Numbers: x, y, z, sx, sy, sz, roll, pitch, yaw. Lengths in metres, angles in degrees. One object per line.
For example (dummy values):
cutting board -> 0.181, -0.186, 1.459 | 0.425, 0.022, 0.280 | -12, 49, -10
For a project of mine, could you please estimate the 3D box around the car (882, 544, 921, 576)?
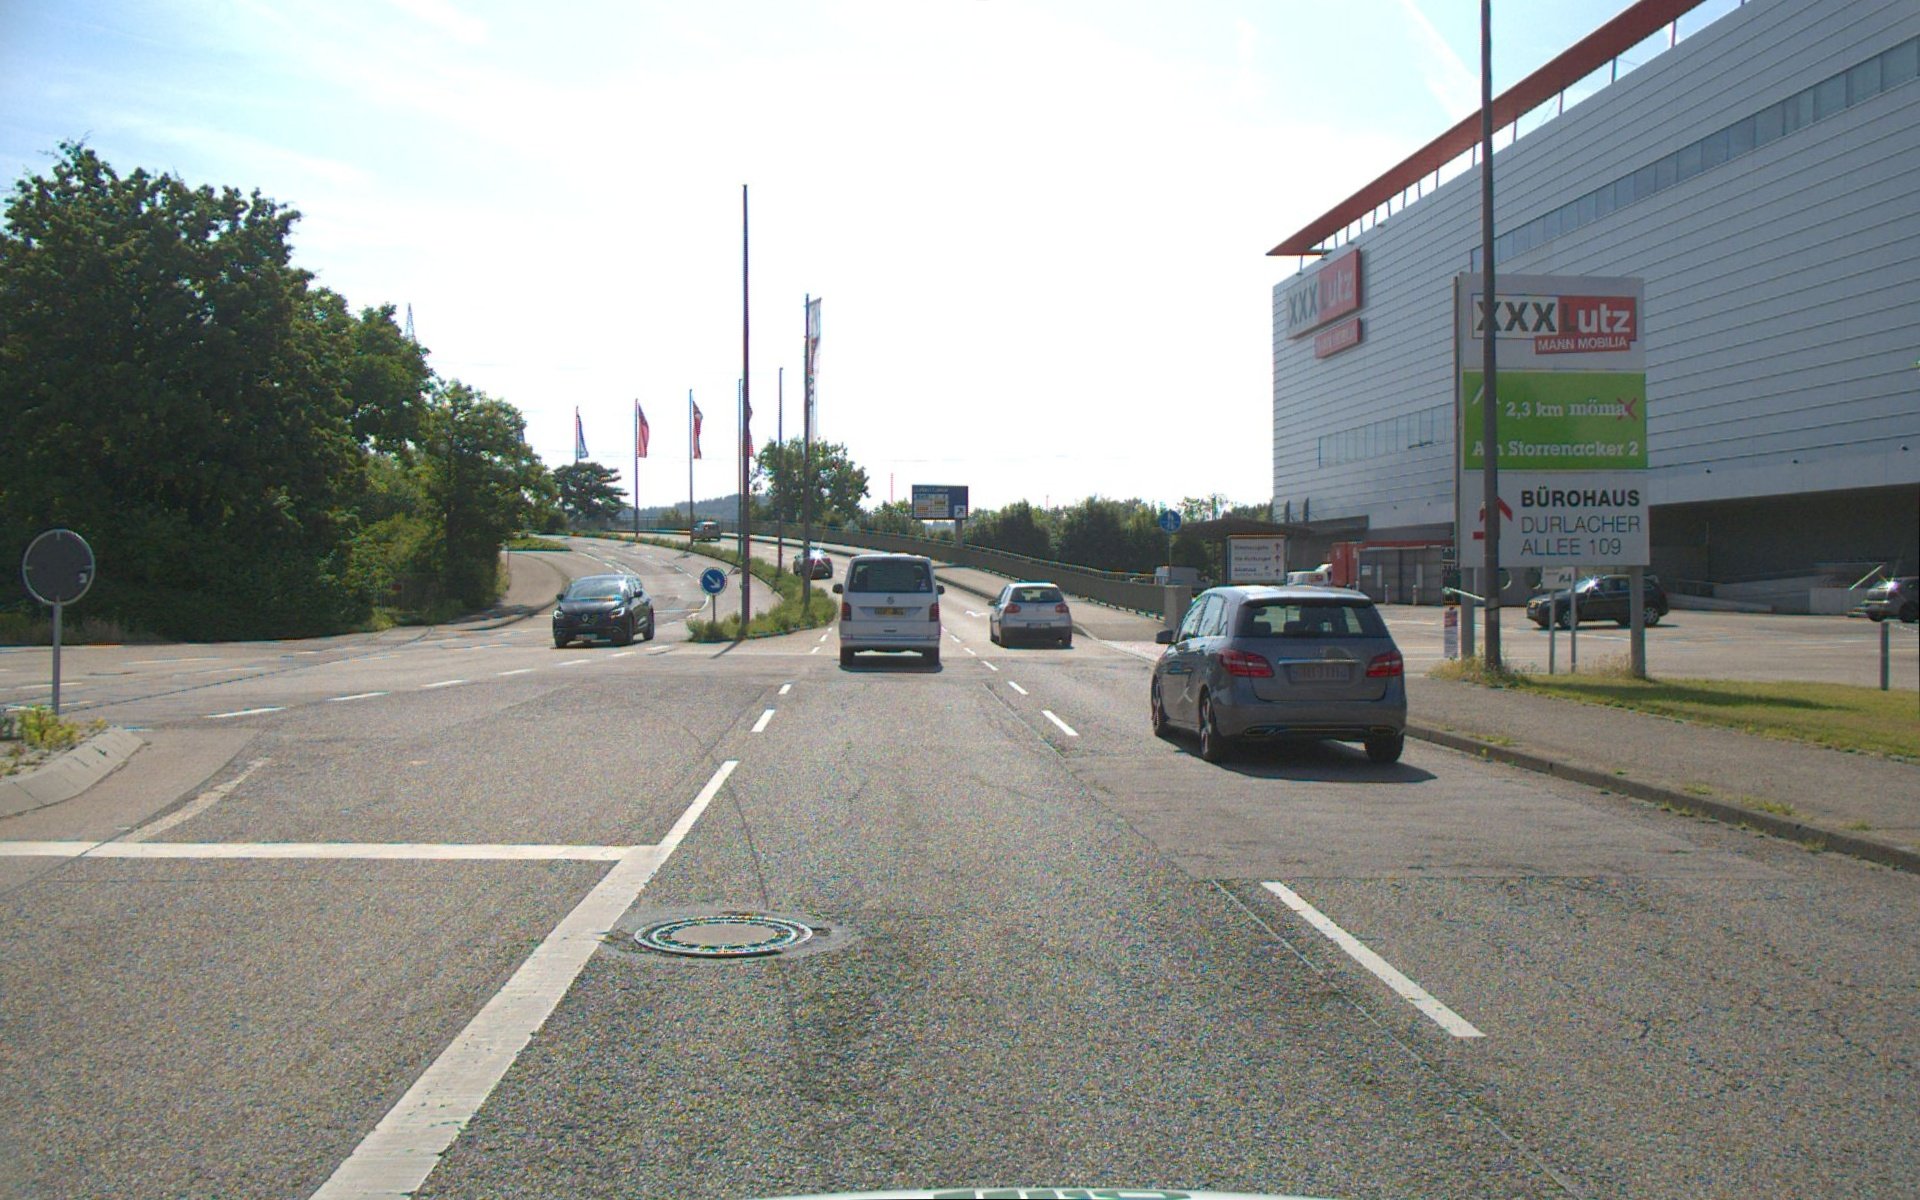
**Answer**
car -> -3.086, -2.124, 87.263 | 1.503, 1.505, 3.588 | 1, 3, -11

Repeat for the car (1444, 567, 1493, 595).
car -> 27.595, -1.030, 89.813 | 1.481, 1.493, 3.252 | 0, 1, -4

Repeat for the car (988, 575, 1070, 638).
car -> 1.633, 0.123, 40.070 | 1.633, 1.439, 3.680 | 0, 1, -3

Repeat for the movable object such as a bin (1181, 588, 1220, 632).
movable object such as a bin -> 6.382, 0.258, 43.933 | 0.793, 1.133, 1.181 | 0, 1, -3

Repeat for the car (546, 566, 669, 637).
car -> -8.539, 0.010, 40.435 | 1.875, 1.634, 4.274 | 0, 1, 3

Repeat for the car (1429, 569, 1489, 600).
car -> 25.785, -0.832, 85.615 | 1.640, 1.535, 4.091 | 0, 1, -4

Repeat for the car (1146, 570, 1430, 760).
car -> 2.972, 0.521, 15.861 | 1.738, 1.566, 4.136 | 1, 1, -2

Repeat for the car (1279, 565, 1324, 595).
car -> 20.643, -1.231, 100.114 | 1.640, 1.782, 4.091 | 0, 1, -4

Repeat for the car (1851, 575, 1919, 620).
car -> 31.258, -0.061, 54.087 | 3.450, 1.400, 1.601 | 1, 1, -8

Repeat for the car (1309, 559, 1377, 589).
car -> 25.647, -1.722, 110.854 | 4.106, 1.962, 1.775 | 0, 1, -5

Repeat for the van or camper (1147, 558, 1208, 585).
van or camper -> 19.787, -2.552, 150.404 | 5.370, 2.216, 2.081 | 2, -1, -33

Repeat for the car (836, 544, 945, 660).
car -> -1.285, 0.003, 31.083 | 1.878, 2.010, 4.296 | 1, 1, -2

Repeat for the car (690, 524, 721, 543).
car -> -21.057, -5.483, 136.812 | 1.513, 1.505, 3.394 | 1, 0, -28

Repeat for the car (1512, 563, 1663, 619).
car -> 20.782, -0.318, 54.850 | 4.340, 1.642, 1.835 | -2, 2, -8

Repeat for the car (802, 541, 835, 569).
car -> -8.055, -2.542, 94.145 | 1.504, 1.505, 3.238 | 1, 1, -11
